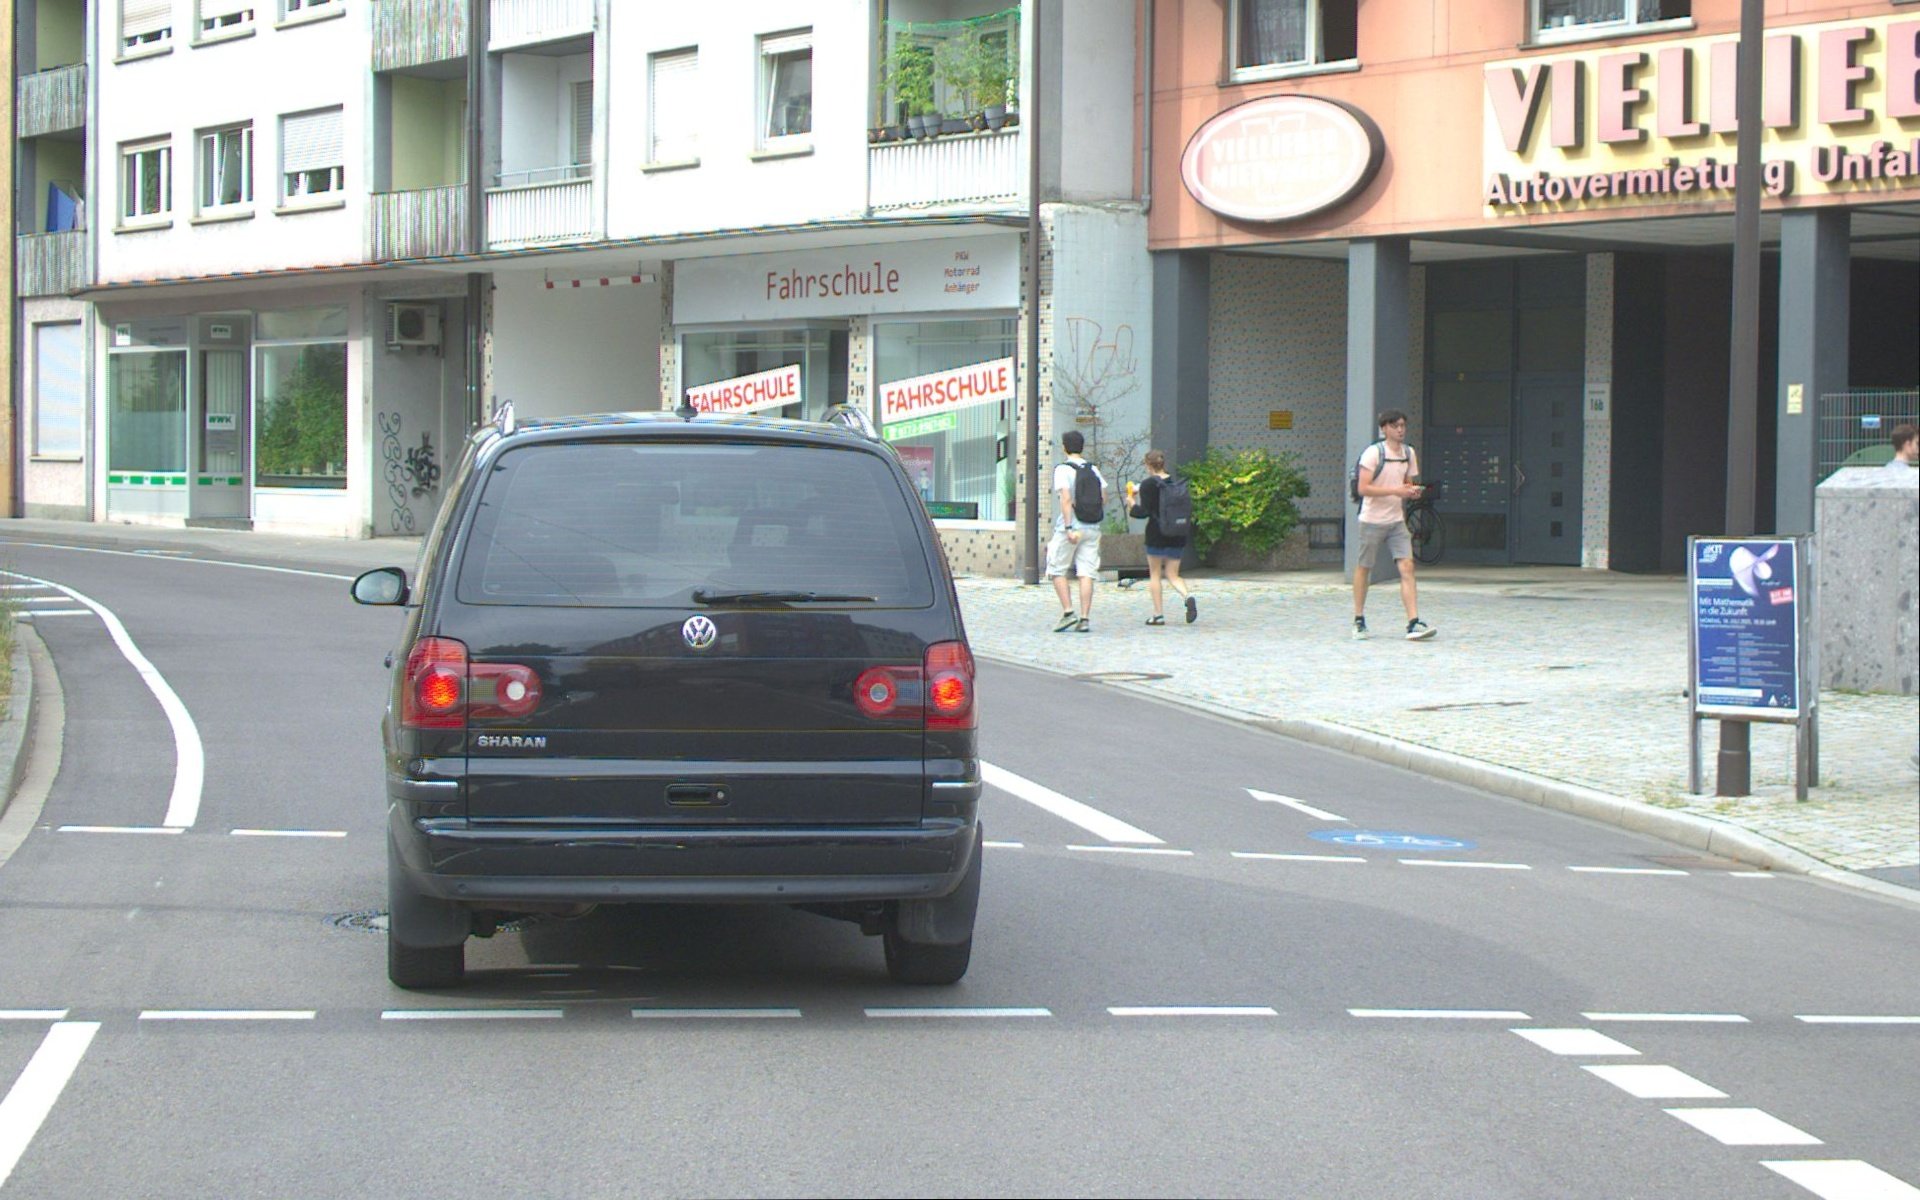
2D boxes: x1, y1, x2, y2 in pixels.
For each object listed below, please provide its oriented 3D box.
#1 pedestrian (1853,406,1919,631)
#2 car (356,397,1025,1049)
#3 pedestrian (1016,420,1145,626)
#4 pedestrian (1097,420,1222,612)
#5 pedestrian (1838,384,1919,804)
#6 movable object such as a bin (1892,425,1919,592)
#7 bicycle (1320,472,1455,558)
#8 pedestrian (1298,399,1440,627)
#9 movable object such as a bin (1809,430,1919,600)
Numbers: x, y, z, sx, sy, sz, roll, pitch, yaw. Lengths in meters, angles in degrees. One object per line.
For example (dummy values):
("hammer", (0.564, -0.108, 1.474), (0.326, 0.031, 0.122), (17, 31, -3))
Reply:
("pedestrian", (7.179, -0.629, 26.124), (0.472, 1.666, 0.590), (-5, 6, -35))
("car", (-1.008, 0.241, 11.234), (1.812, 1.759, 3.739), (0, 3, -9))
("pedestrian", (1.065, -0.698, 30.481), (0.751, 1.744, 0.859), (-5, 6, -28))
("pedestrian", (1.793, -0.768, 30.901), (0.604, 1.662, 0.944), (-6, 6, -38))
("pedestrian", (4.837, -0.036, 16.420), (0.719, 1.964, 1.014), (-5, 6, -41))
("movable object such as a bin", (9.373, -0.829, 31.302), (1.194, 1.510, 1.197), (-2, 4, -37))
("bicycle", (4.793, -0.963, 38.663), (0.452, 0.893, 1.678), (-2, 5, -37))
("pedestrian", (3.405, -0.740, 28.671), (0.656, 1.845, 0.971), (-5, 5, -33))
("movable object such as a bin", (8.411, -0.770, 30.501), (1.145, 1.455, 1.224), (-2, 4, -37))
